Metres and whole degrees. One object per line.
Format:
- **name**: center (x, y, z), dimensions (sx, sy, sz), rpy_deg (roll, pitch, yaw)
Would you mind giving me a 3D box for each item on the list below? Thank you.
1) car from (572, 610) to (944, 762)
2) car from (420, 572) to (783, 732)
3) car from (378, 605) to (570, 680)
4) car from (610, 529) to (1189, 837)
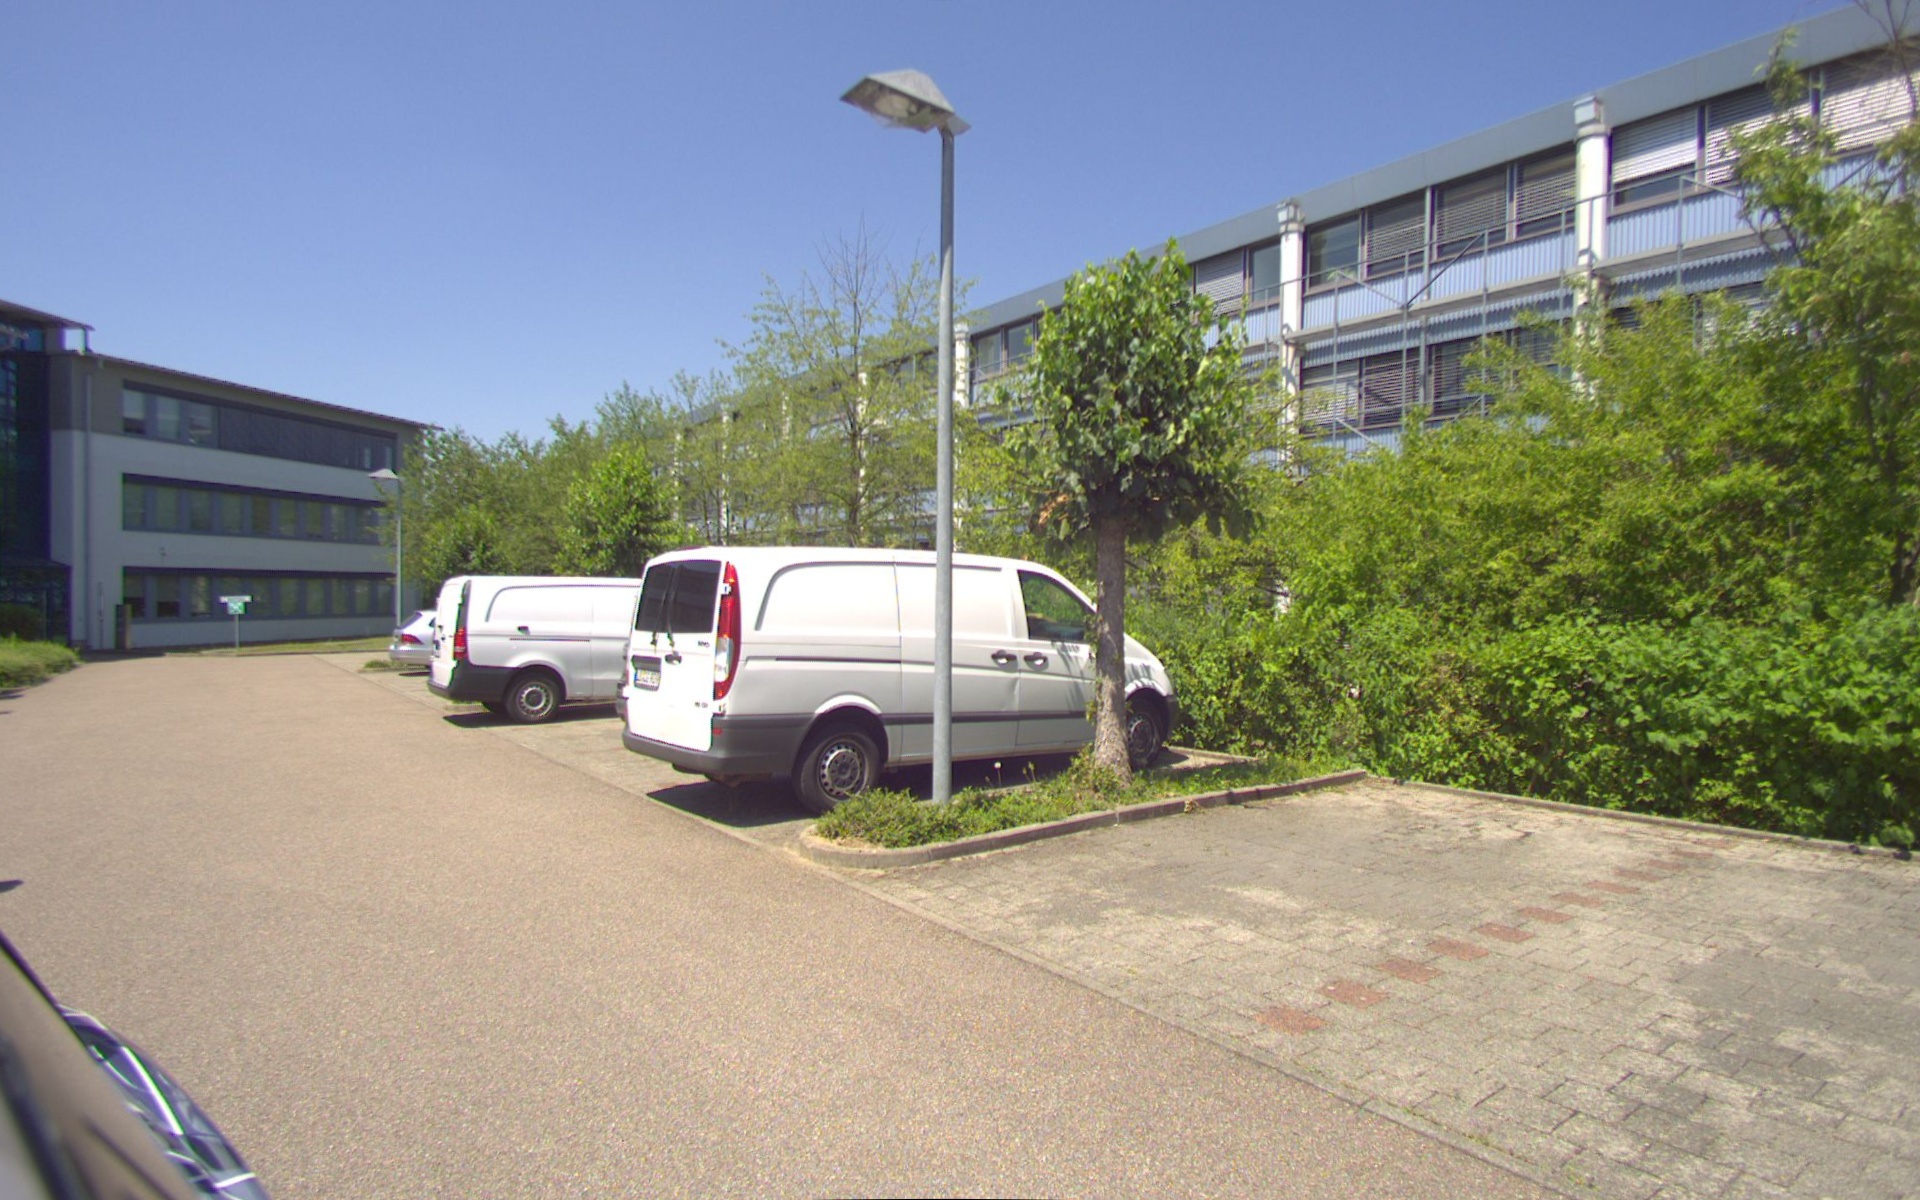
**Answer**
- **car**: center (-2.163, 0.829, 11.343), dimensions (3.790, 1.404, 1.580), rpy_deg (0, 0, -39)
- **car**: center (-4.895, 0.620, 14.159), dimensions (4.448, 1.896, 1.833), rpy_deg (0, 0, -39)
- **car**: center (-11.153, 0.919, 23.324), dimensions (3.705, 1.569, 1.664), rpy_deg (0, 0, -39)
- **car**: center (-0.298, 0.518, 8.501), dimensions (4.659, 1.920, 1.833), rpy_deg (0, 0, -39)
